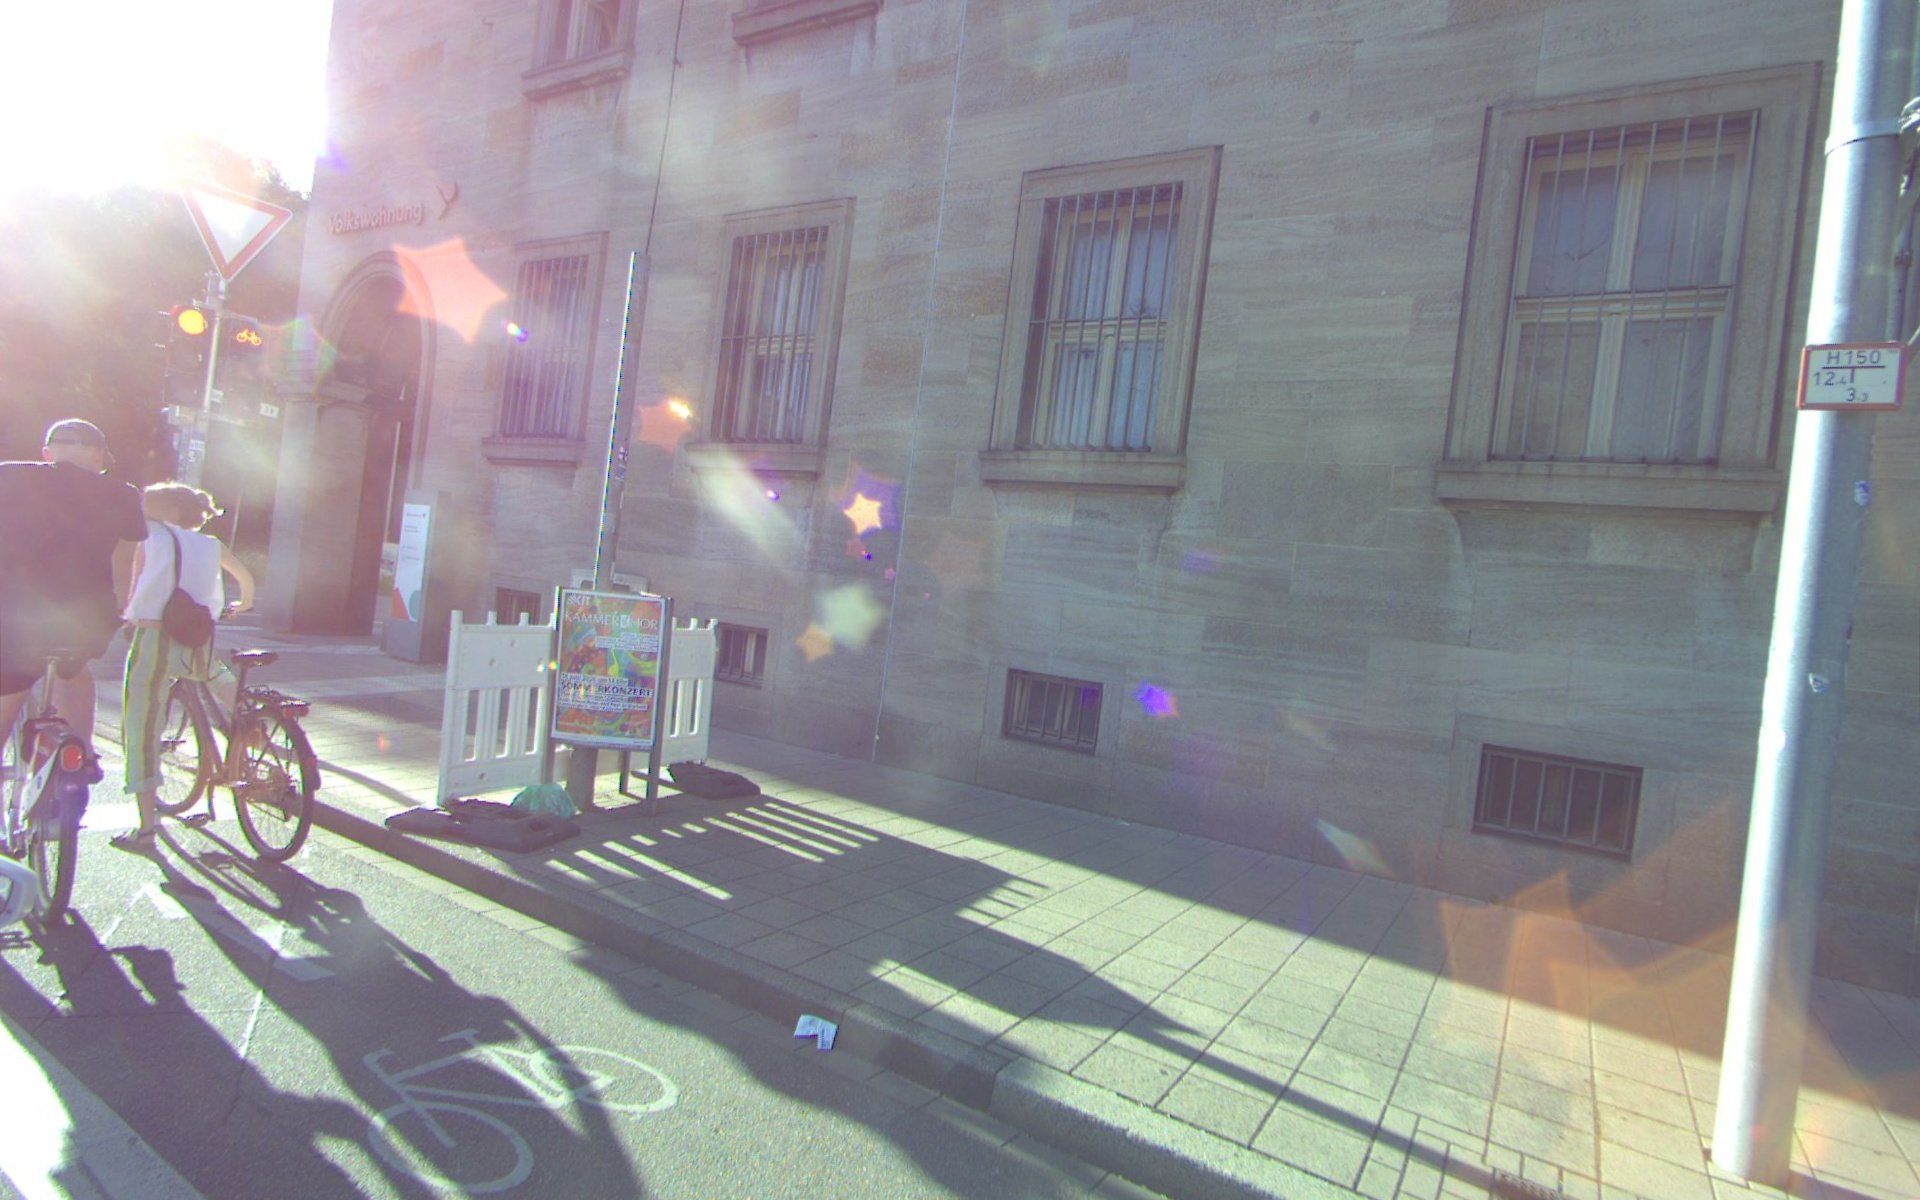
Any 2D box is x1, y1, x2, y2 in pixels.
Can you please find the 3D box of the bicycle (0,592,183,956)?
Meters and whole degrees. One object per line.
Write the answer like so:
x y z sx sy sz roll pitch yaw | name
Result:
-3.743 0.572 3.925 1.700 1.090 0.516 7 -1 34 | bicycle

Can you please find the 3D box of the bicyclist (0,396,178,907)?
-3.554 0.191 3.854 0.541 1.820 0.559 7 -1 33 | bicyclist

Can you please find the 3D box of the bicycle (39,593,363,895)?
-3.687 0.619 4.842 1.721 1.090 0.535 7 -1 31 | bicycle

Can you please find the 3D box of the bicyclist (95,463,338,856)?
-3.541 0.264 4.804 0.629 1.711 0.558 7 -1 30 | bicyclist

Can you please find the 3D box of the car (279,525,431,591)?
-19.730 -1.338 32.974 1.623 1.630 3.854 7 -1 31 | car

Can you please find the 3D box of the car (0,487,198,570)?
-23.378 -1.894 27.196 1.622 1.630 3.999 7 -1 31 | car

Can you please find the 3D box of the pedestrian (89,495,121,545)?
-30.395 -2.843 35.759 0.506 1.683 0.583 8 0 34 | pedestrian
